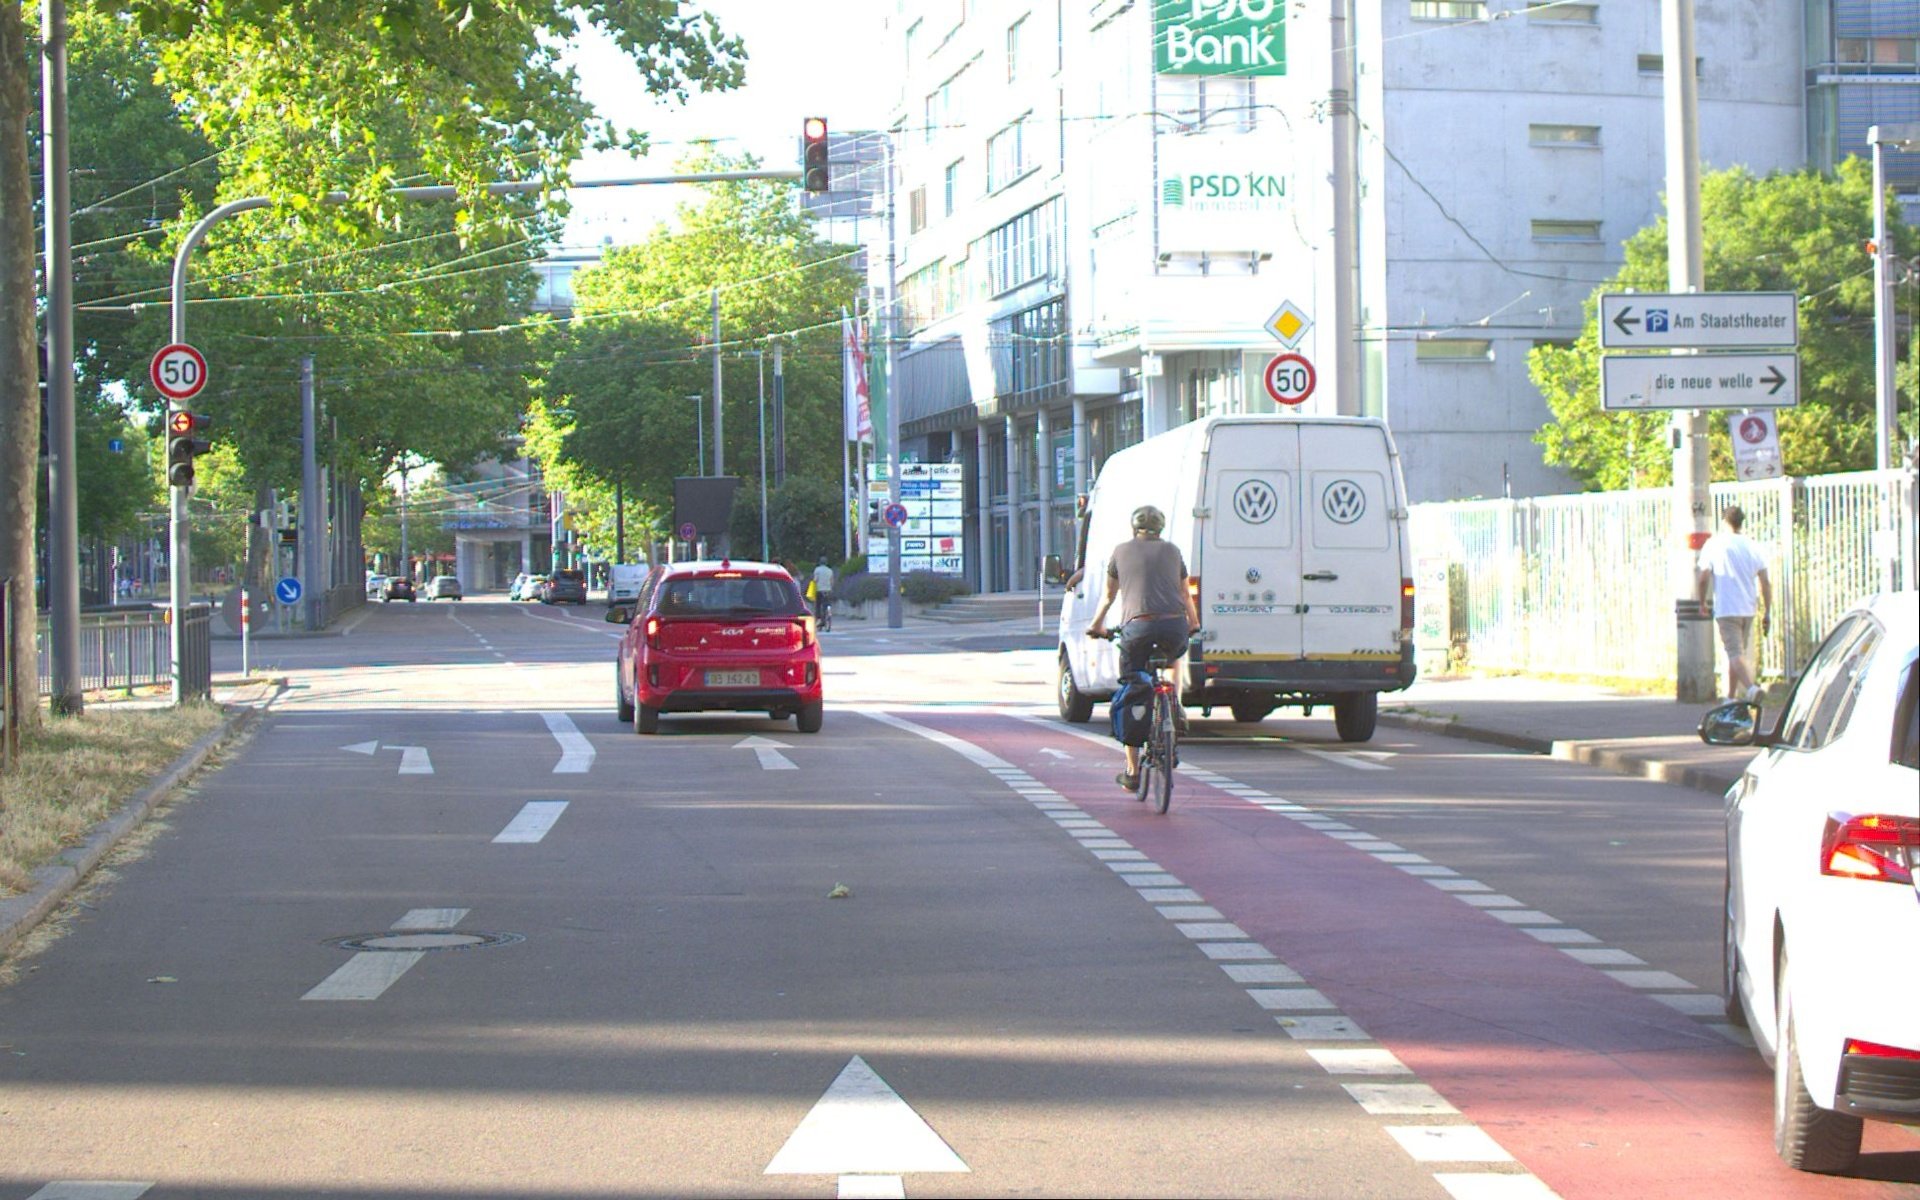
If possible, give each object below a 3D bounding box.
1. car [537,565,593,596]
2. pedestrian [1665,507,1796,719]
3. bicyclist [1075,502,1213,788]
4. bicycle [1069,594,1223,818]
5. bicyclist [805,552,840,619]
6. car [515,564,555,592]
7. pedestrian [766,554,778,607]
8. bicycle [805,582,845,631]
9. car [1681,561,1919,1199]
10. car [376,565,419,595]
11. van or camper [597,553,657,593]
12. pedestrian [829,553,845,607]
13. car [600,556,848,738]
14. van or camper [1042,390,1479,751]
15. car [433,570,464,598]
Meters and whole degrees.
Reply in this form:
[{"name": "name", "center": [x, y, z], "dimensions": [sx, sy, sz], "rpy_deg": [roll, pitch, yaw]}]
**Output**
[{"name": "car", "center": [-20.578, -1.019, 178.948], "dimensions": [2.477, 1.523, 4.433], "rpy_deg": [-2, 1, -11]}, {"name": "pedestrian", "center": [6.497, 0.101, 29.010], "dimensions": [0.786, 1.742, 0.772], "rpy_deg": [-2, 1, -11]}, {"name": "bicyclist", "center": [1.085, 0.258, 20.441], "dimensions": [0.743, 1.663, 0.745], "rpy_deg": [1, 1, -2]}, {"name": "bicycle", "center": [1.079, 0.595, 20.426], "dimensions": [0.744, 1.220, 2.156], "rpy_deg": [1, 1, -1]}, {"name": "bicyclist", "center": [-3.386, -0.357, 84.740], "dimensions": [0.785, 1.629, 0.639], "rpy_deg": [-1, 1, -5]}, {"name": "car", "center": [-24.723, -1.282, 200.051], "dimensions": [1.884, 1.523, 4.433], "rpy_deg": [-2, 1, -12]}, {"name": "pedestrian", "center": [-5.520, -0.572, 100.816], "dimensions": [0.294, 1.557, 0.302], "rpy_deg": [-1, 1, -7]}, {"name": "bicycle", "center": [-3.304, 0.151, 84.071], "dimensions": [0.792, 1.157, 2.500], "rpy_deg": [-1, 1, -6]}, {"name": "car", "center": [3.019, 0.641, 9.420], "dimensions": [1.802, 1.496, 3.980], "rpy_deg": [0, 1, 8]}, {"name": "car", "center": [-32.064, -1.130, 195.970], "dimensions": [2.057, 1.648, 3.493], "rpy_deg": [-2, 1, -14]}, {"name": "van or camper", "center": [-15.077, -1.228, 155.537], "dimensions": [2.145, 1.744, 4.433], "rpy_deg": [-2, 1, -12]}, {"name": "pedestrian", "center": [-3.593, -0.583, 100.356], "dimensions": [0.313, 1.557, 0.295], "rpy_deg": [-1, 1, 22]}, {"name": "car", "center": [-2.167, 0.364, 30.681], "dimensions": [1.839, 1.484, 3.717], "rpy_deg": [-1, 1, -9]}, {"name": "van or camper", "center": [2.393, -0.258, 29.580], "dimensions": [2.268, 2.724, 6.348], "rpy_deg": [1, 1, -8]}, {"name": "car", "center": [-30.945, -0.970, 208.000], "dimensions": [1.657, 1.601, 3.532], "rpy_deg": [-2, 1, -10]}]
